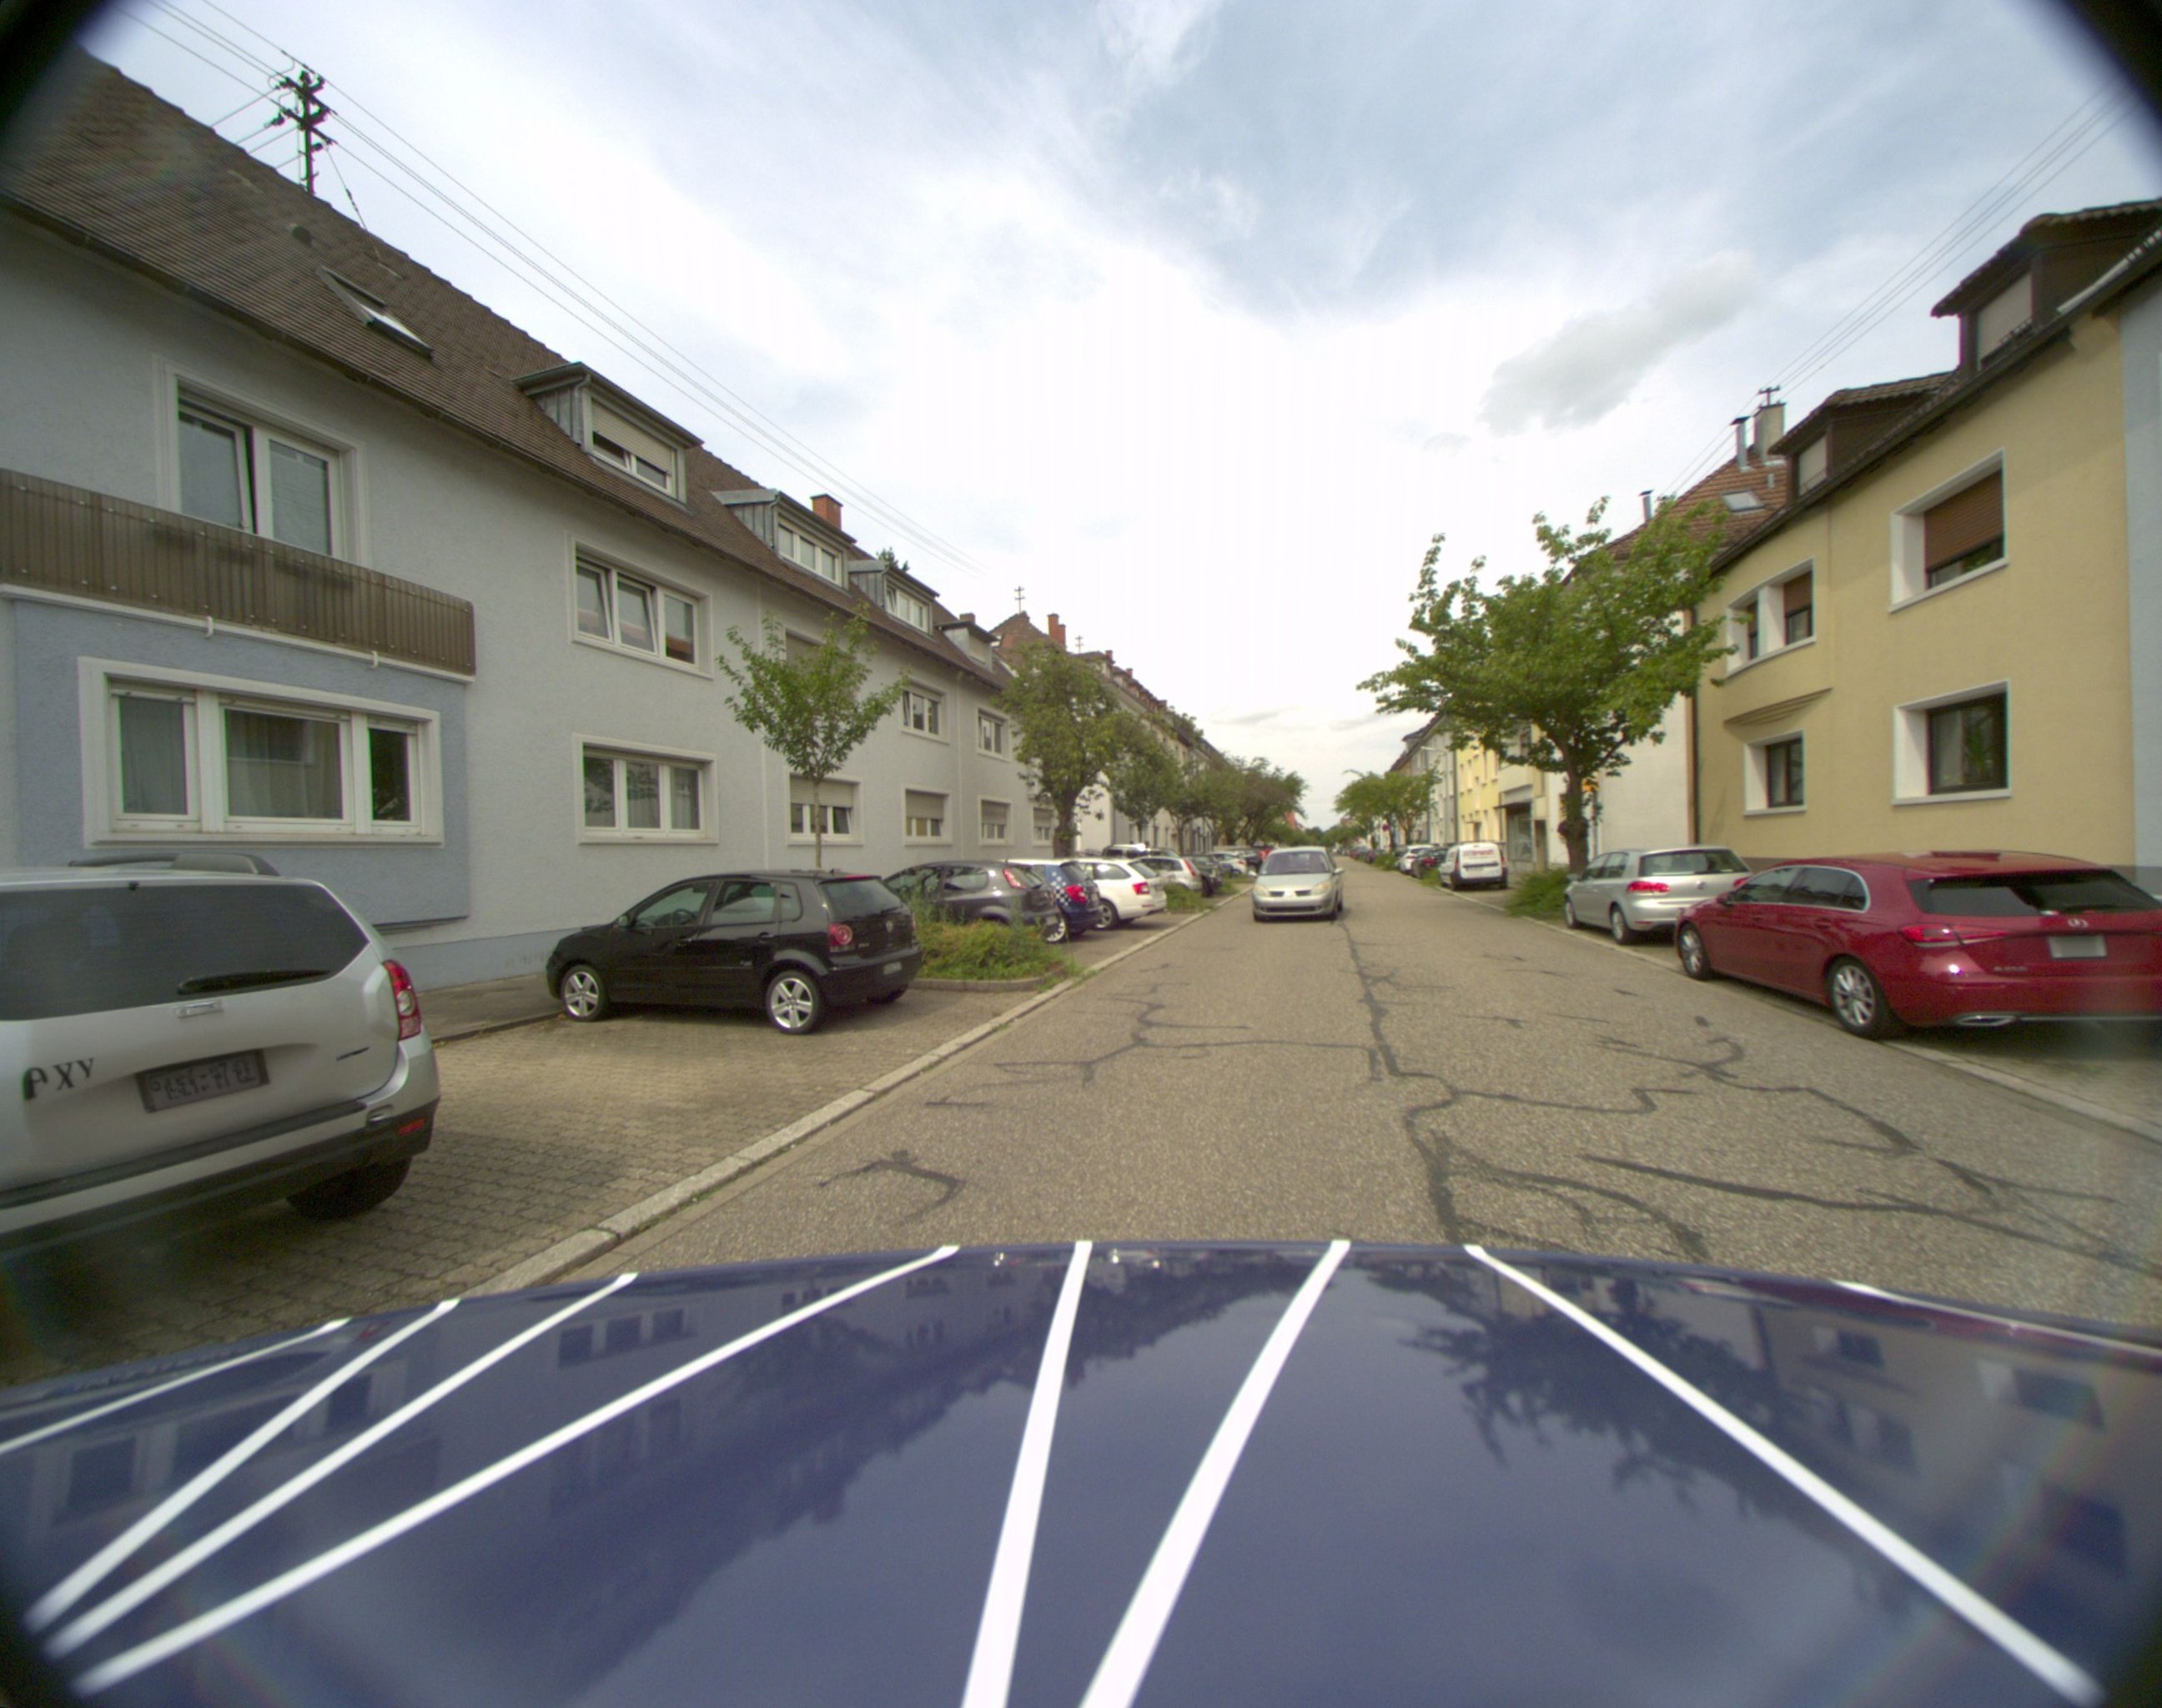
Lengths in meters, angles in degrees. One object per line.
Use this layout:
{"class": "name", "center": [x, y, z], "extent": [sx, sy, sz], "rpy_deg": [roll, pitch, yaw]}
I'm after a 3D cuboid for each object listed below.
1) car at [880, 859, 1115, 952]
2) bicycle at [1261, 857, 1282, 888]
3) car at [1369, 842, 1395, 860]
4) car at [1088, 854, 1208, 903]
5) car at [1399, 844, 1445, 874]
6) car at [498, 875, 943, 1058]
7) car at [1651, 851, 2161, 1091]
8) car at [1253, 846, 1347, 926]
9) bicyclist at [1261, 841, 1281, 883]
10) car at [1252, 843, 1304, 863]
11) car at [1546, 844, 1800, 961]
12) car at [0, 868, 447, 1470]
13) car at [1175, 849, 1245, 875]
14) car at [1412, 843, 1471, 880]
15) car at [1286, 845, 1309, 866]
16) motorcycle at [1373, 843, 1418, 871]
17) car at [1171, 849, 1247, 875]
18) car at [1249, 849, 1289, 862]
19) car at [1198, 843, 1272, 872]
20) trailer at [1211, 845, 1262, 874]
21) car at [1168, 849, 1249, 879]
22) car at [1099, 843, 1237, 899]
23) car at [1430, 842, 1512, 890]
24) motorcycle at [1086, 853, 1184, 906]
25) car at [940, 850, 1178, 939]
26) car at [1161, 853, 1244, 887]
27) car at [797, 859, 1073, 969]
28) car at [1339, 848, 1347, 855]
{"class": "car", "center": [-1.516, 0.867, 14.164], "extent": [3.991, 1.499, 1.714], "rpy_deg": [0, 1, 18]}
{"class": "bicycle", "center": [8.113, 0.782, 32.356], "extent": [0.692, 1.220, 1.939], "rpy_deg": [-2, 0, 17]}
{"class": "car", "center": [28.924, -0.299, 73.114], "extent": [1.839, 1.475, 4.125], "rpy_deg": [-4, 0, 16]}
{"class": "car", "center": [2.191, 0.750, 24.482], "extent": [3.630, 1.446, 1.775], "rpy_deg": [0, 1, 14]}
{"class": "car", "center": [18.318, 0.237, 40.953], "extent": [1.759, 1.547, 4.261], "rpy_deg": [-1, 1, 17]}
{"class": "car", "center": [-3.607, 0.977, 7.747], "extent": [3.991, 1.413, 1.714], "rpy_deg": [0, 1, 18]}
{"class": "car", "center": [7.331, 0.736, 7.028], "extent": [1.879, 1.477, 4.518], "rpy_deg": [0, 1, 18]}
{"class": "car", "center": [5.140, 0.640, 17.717], "extent": [1.786, 1.595, 4.842], "rpy_deg": [-2, 0, 17]}
{"class": "bicyclist", "center": [8.087, 0.339, 32.291], "extent": [0.693, 1.760, 0.987], "rpy_deg": [-2, 1, 17]}
{"class": "car", "center": [20.980, -0.129, 81.124], "extent": [5.236, 2.012, 2.075], "rpy_deg": [0, 1, 13]}
{"class": "car", "center": [9.160, 0.648, 12.260], "extent": [1.774, 1.383, 4.280], "rpy_deg": [-8, -2, 18]}
{"class": "car", "center": [-4.786, 0.890, 2.808], "extent": [3.928, 1.623, 1.870], "rpy_deg": [-1, 0, 17]}
{"class": "car", "center": [7.575, 0.443, 44.547], "extent": [3.751, 1.433, 1.867], "rpy_deg": [0, 1, 19]}
{"class": "car", "center": [16.509, 0.310, 35.015], "extent": [1.793, 1.483, 4.818], "rpy_deg": [-2, 1, 18]}
{"class": "car", "center": [20.781, 0.130, 73.076], "extent": [1.996, 1.903, 4.709], "rpy_deg": [-3, 0, 16]}
{"class": "motorcycle", "center": [18.919, 0.178, 45.748], "extent": [0.940, 1.666, 2.469], "rpy_deg": [0, 0, -26]}
{"class": "car", "center": [7.164, 0.435, 42.367], "extent": [3.992, 1.402, 1.770], "rpy_deg": [0, 1, 15]}
{"class": "car", "center": [22.334, 0.214, 90.386], "extent": [4.552, 1.501, 1.852], "rpy_deg": [0, 1, 16]}
{"class": "car", "center": [9.392, 0.198, 46.329], "extent": [4.219, 1.726, 1.906], "rpy_deg": [0, 1, 20]}
{"class": "trailer", "center": [10.007, 0.319, 48.830], "extent": [2.963, 1.821, 1.402], "rpy_deg": [0, 1, 21]}
{"class": "car", "center": [6.649, 0.490, 39.572], "extent": [3.992, 1.521, 1.770], "rpy_deg": [0, 1, 15]}
{"class": "car", "center": [3.081, 0.546, 26.797], "extent": [4.529, 1.847, 1.795], "rpy_deg": [0, 1, 20]}
{"class": "car", "center": [13.892, 0.361, 27.295], "extent": [1.920, 1.572, 4.387], "rpy_deg": [0, 1, 18]}
{"class": "motorcycle", "center": [1.594, 0.742, 22.381], "extent": [2.704, 1.455, 1.032], "rpy_deg": [-2, 1, 14]}
{"class": "car", "center": [-0.433, 0.754, 15.956], "extent": [4.619, 1.654, 1.895], "rpy_deg": [0, 1, 19]}
{"class": "car", "center": [5.605, 0.701, 34.847], "extent": [3.547, 1.444, 1.811], "rpy_deg": [0, 1, 17]}
{"class": "car", "center": [-2.289, 0.856, 12.129], "extent": [3.991, 1.499, 1.714], "rpy_deg": [0, 1, 18]}
{"class": "car", "center": [62.010, -0.595, 179.803], "extent": [1.623, 1.495, 3.447], "rpy_deg": [0, 1, 18]}
